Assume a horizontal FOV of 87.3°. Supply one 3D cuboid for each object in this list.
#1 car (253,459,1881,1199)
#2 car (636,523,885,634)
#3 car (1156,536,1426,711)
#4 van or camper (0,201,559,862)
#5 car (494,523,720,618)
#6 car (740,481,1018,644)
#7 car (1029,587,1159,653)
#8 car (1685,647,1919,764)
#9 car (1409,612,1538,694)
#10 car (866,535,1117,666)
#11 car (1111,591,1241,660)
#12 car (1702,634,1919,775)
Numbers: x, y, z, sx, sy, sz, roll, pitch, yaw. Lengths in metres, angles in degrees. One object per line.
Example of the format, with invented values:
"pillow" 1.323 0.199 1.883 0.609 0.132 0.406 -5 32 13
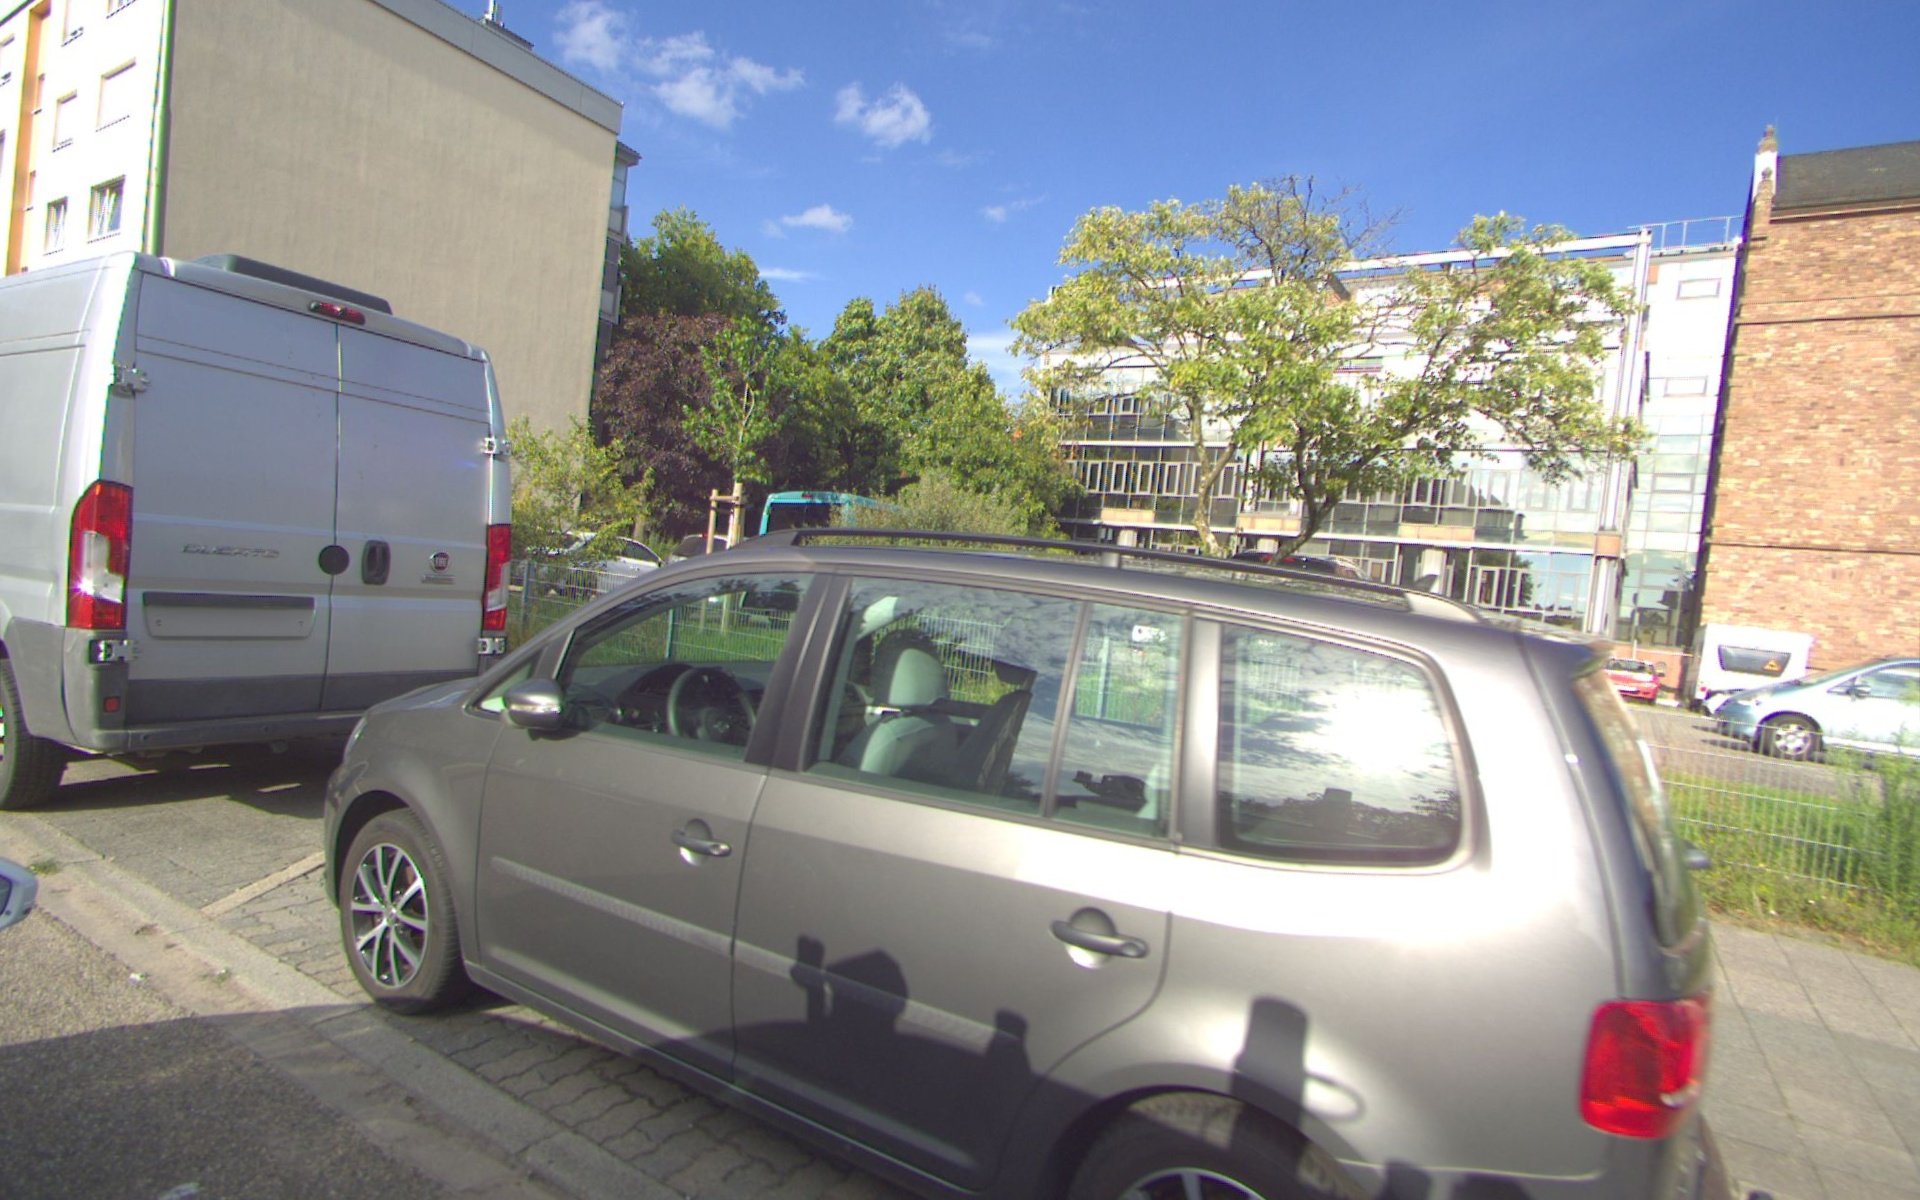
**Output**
"car" -0.224 0.566 3.129 4.134 1.671 1.673 7 3 31
"car" -3.477 -0.331 18.123 1.843 1.500 4.074 7 0 39
"car" 4.133 0.342 12.178 1.842 1.679 3.785 7 0 37
"van or camper" -5.422 -0.511 6.269 5.813 2.561 2.160 7 3 29
"car" -7.365 -0.575 21.289 1.843 1.500 4.074 7 0 39
"car" -1.260 -0.567 17.296 2.331 2.219 4.266 7 0 37
"car" 3.924 0.607 28.995 1.842 1.500 4.076 7 0 37
"car" 14.702 1.761 16.744 4.023 1.471 1.885 7 1 32
"car" 11.864 1.260 23.102 1.842 1.522 4.076 7 0 37
"car" 0.593 0.065 15.534 1.843 1.584 3.783 7 0 39
"car" 6.007 0.737 27.693 1.842 1.522 4.076 7 0 37
"car" 12.116 1.416 12.794 4.023 1.471 1.885 7 1 32
